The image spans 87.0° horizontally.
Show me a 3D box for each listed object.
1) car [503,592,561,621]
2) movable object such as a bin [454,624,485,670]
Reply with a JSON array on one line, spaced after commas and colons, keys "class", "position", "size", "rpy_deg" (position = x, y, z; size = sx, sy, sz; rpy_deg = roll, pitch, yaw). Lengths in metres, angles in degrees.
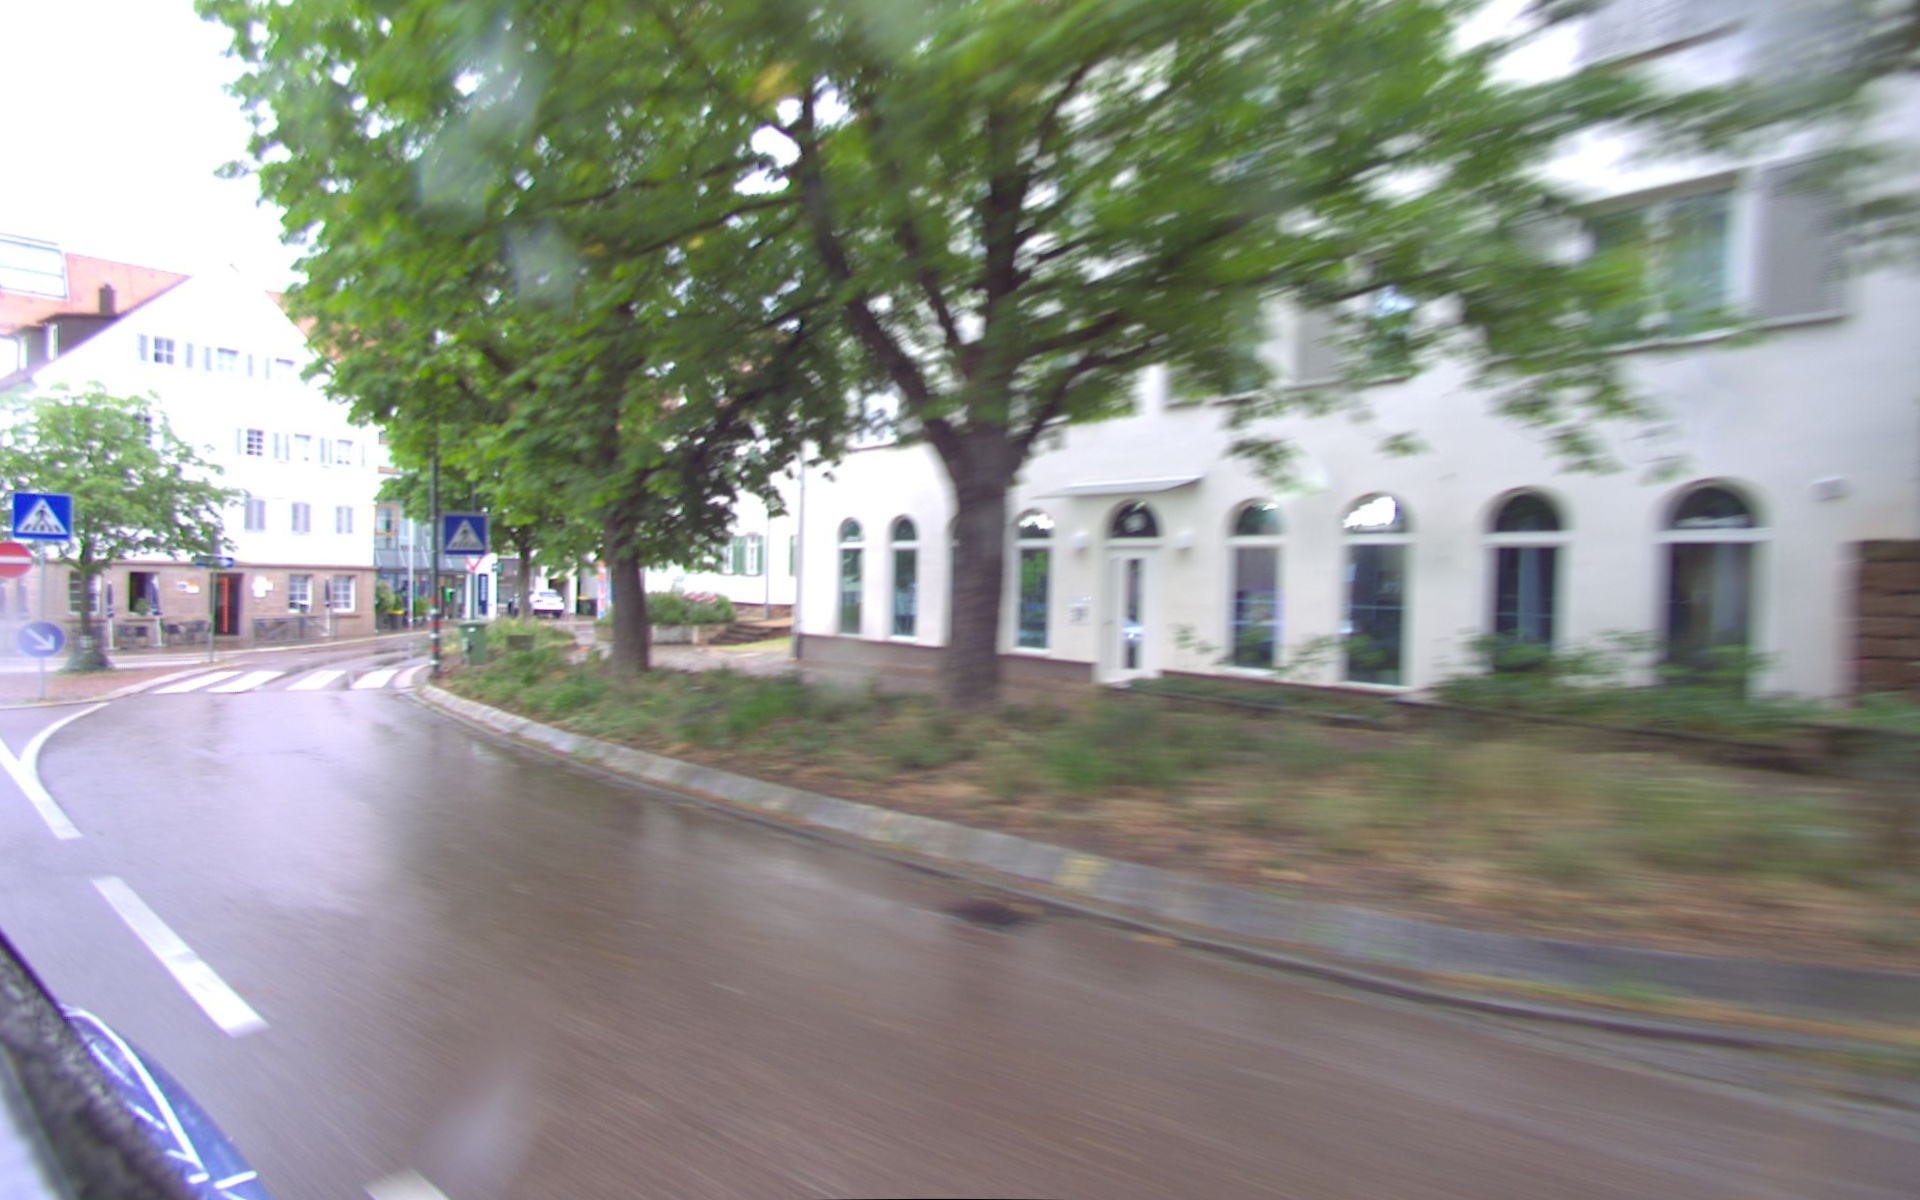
[{"class": "car", "position": [-25.170, 0.358, 59.429], "size": [1.803, 1.634, 3.892], "rpy_deg": [2, -1, -44]}, {"class": "movable object such as a bin", "position": [-11.751, 1.111, 24.260], "size": [0.625, 1.067, 0.700], "rpy_deg": [1, -1, -28]}]
